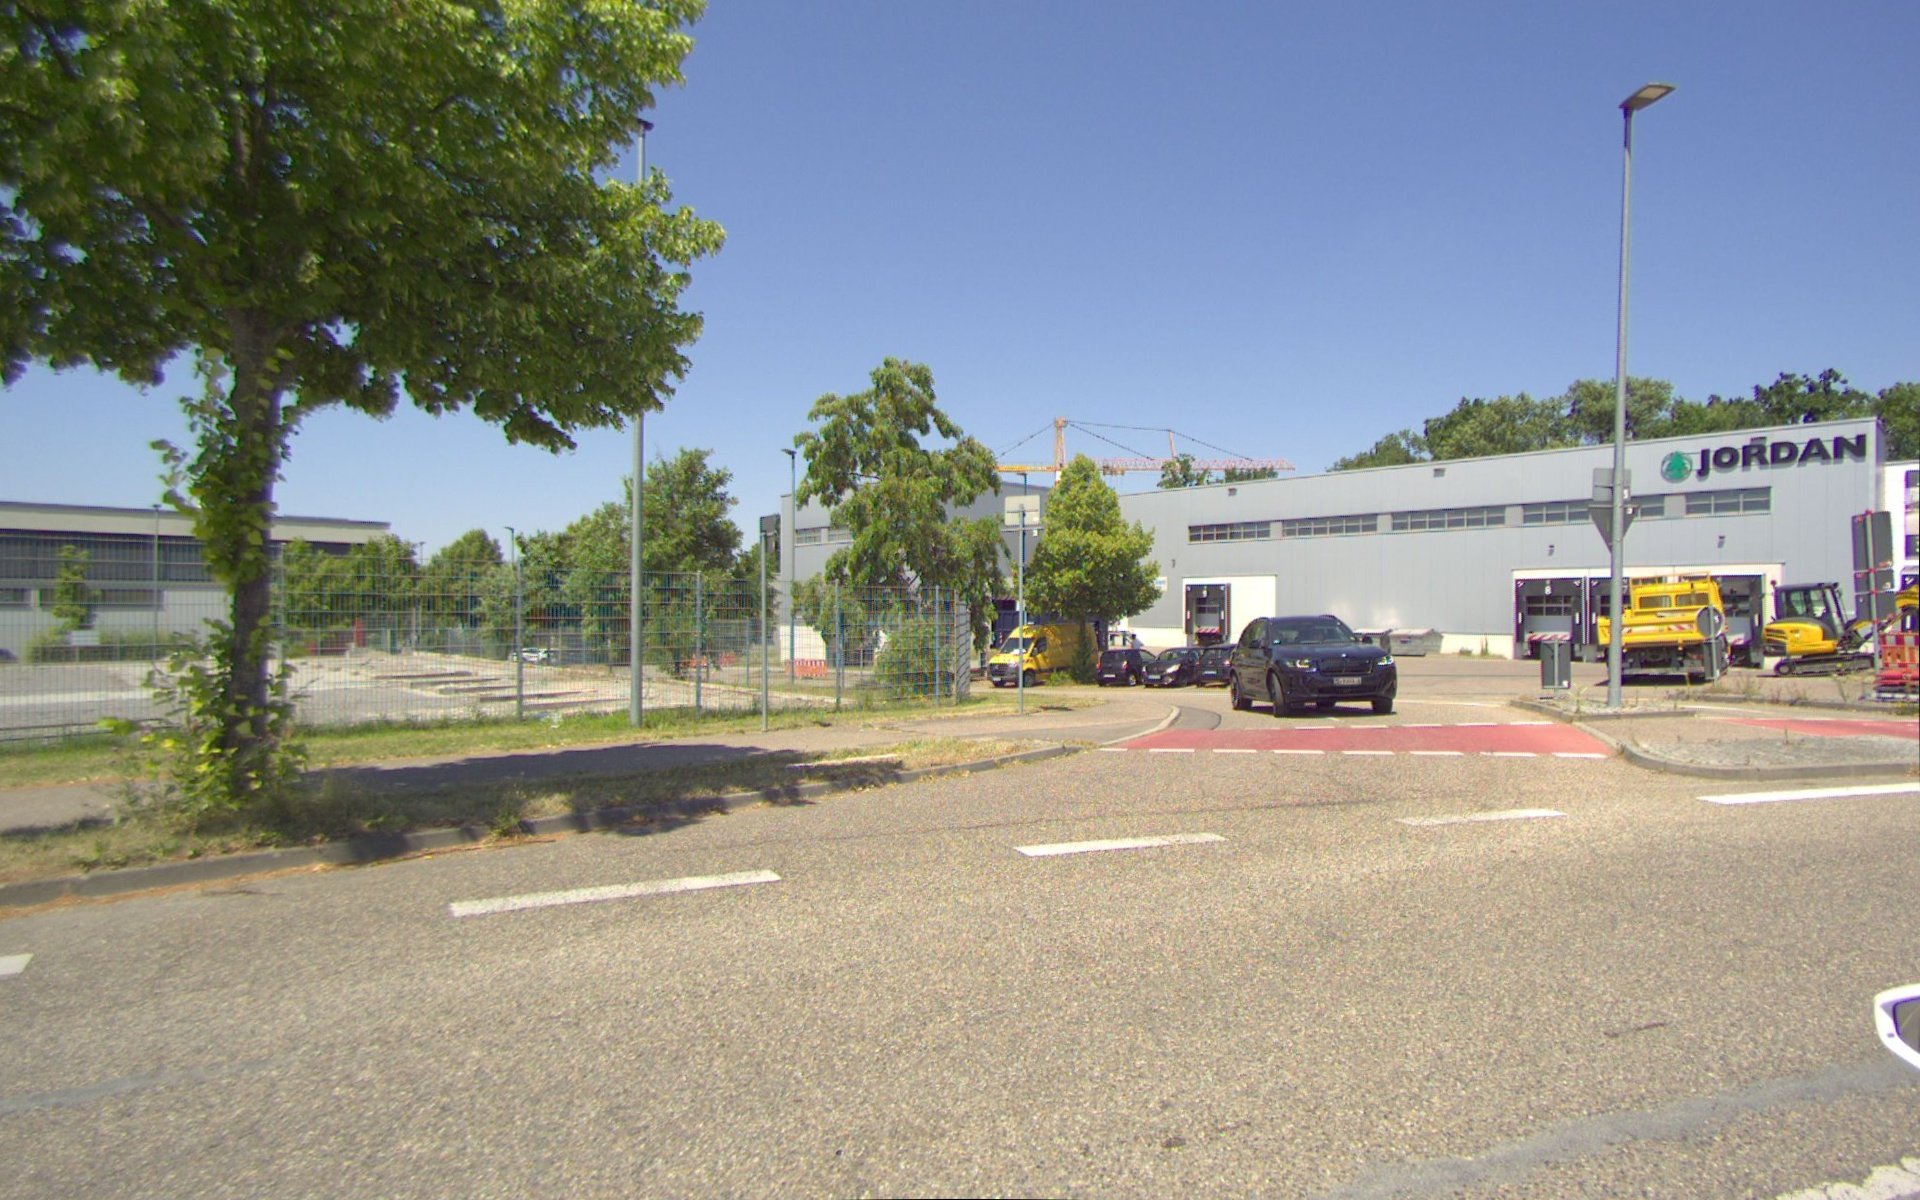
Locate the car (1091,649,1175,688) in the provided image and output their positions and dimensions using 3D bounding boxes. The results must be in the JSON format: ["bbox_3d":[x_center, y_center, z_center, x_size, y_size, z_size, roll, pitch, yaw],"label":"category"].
[{"bbox_3d":[7.124,2.773,41.212,1.606,1.498,3.591,-3,-3,44],"label":"car"}]

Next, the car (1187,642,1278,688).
[{"bbox_3d":[10.239,2.409,37.674,3.646,1.482,1.607,-1,-2,-44],"label":"car"}]

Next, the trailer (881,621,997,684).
[{"bbox_3d":[-1.085,2.606,49.965,5.444,2.895,2.649,-3,-1,43],"label":"trailer"}]

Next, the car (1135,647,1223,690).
[{"bbox_3d":[8.564,2.630,39.124,1.569,1.527,3.759,-3,-3,44],"label":"car"}]

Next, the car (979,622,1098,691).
[{"bbox_3d":[3.559,2.392,44.335,1.973,2.769,5.761,-1,-1,45],"label":"car"}]

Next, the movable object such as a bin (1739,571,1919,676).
[{"bbox_3d":[24.511,0.642,26.022,1.982,2.614,6.508,2,-4,-38],"label":"movable object such as a bin"}]

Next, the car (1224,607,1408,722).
[{"bbox_3d":[5.982,1.159,17.502,1.833,1.655,4.604,-3,-5,5],"label":"car"}]

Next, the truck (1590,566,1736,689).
[{"bbox_3d":[20.639,0.732,29.327,2.560,3.177,6.388,-4,-2,42],"label":"truck"}]
